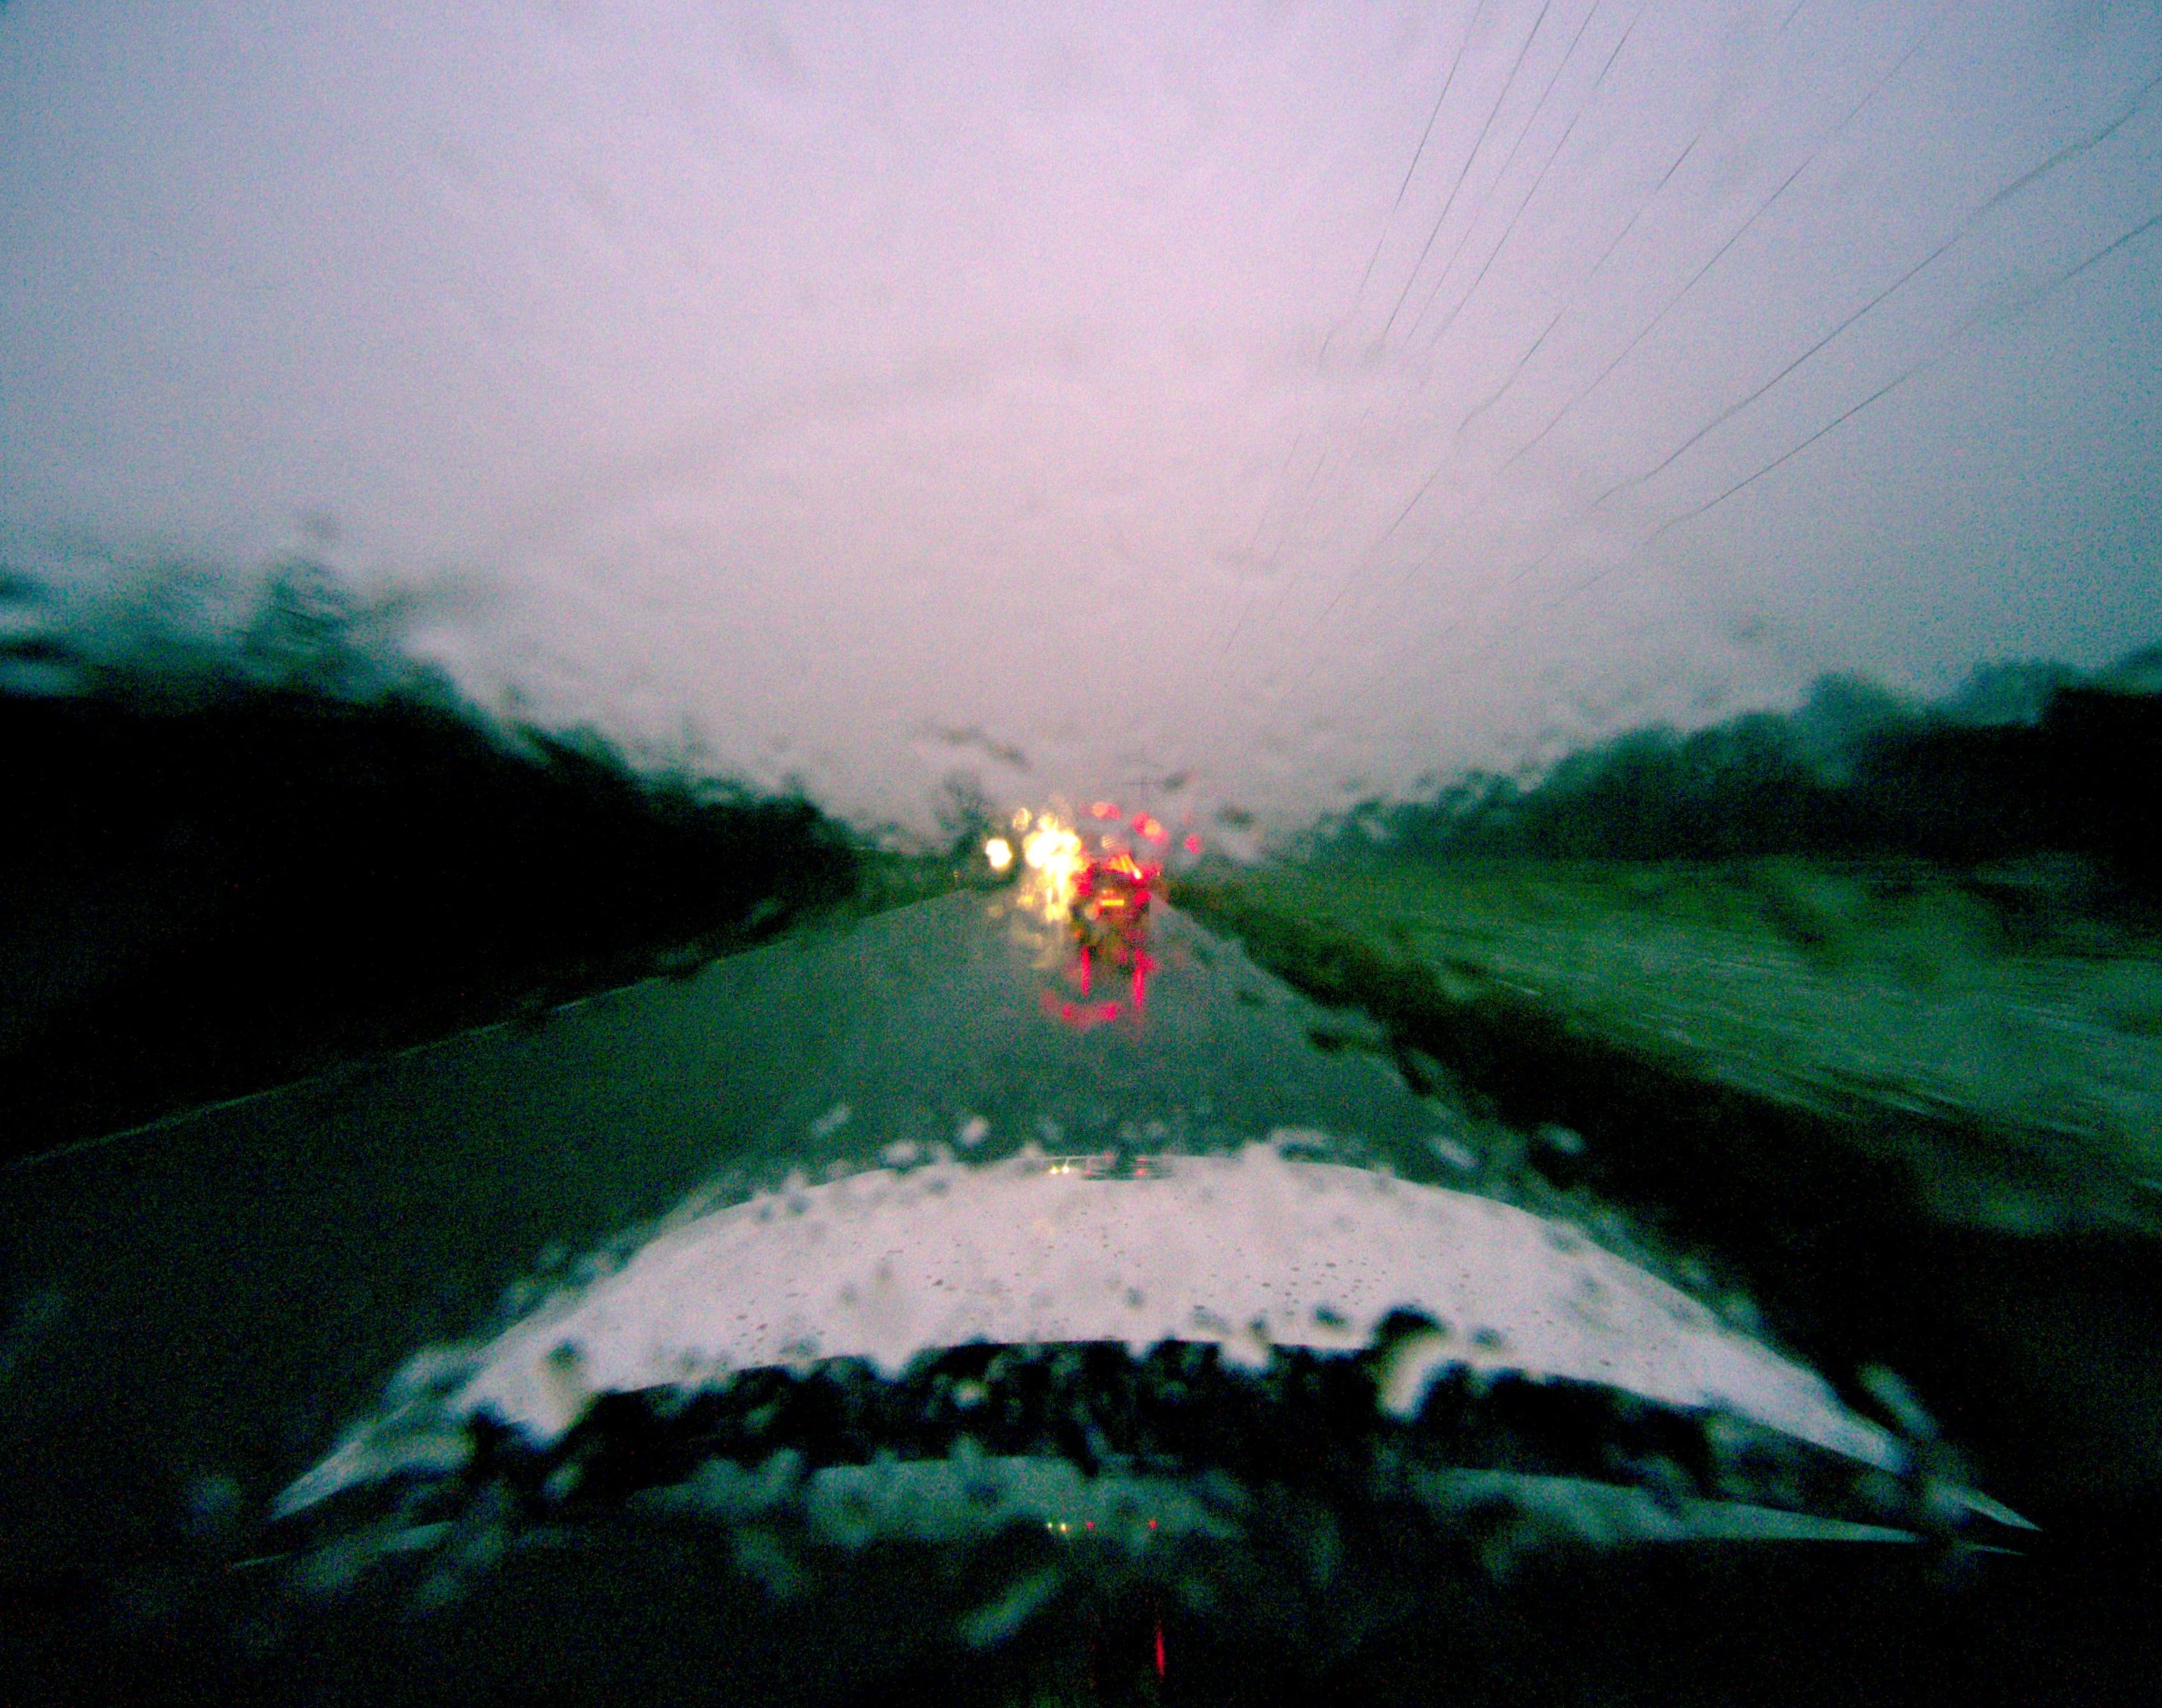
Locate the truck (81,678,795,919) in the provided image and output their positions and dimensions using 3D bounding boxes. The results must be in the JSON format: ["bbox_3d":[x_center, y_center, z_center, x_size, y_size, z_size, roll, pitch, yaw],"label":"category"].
[{"bbox_3d":[-27.896,-1.713,46.433,7.514,7.713,40.170,-1,0,2],"label":"truck"}]

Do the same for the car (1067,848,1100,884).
[{"bbox_3d":[0.094,0.706,48.443,1.847,2.014,3.997,0,0,-2],"label":"car"}]

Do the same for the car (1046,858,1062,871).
[{"bbox_3d":[-3.453,1.286,103.326,1.779,1.591,4.486,-1,0,1],"label":"car"}]

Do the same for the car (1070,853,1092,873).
[{"bbox_3d":[-0.041,0.706,68.454,1.764,1.591,4.161,-1,0,-1],"label":"car"}]

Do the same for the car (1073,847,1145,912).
[{"bbox_3d":[0.594,0.555,19.275,1.496,1.398,3.197,0,0,-2],"label":"car"}]
